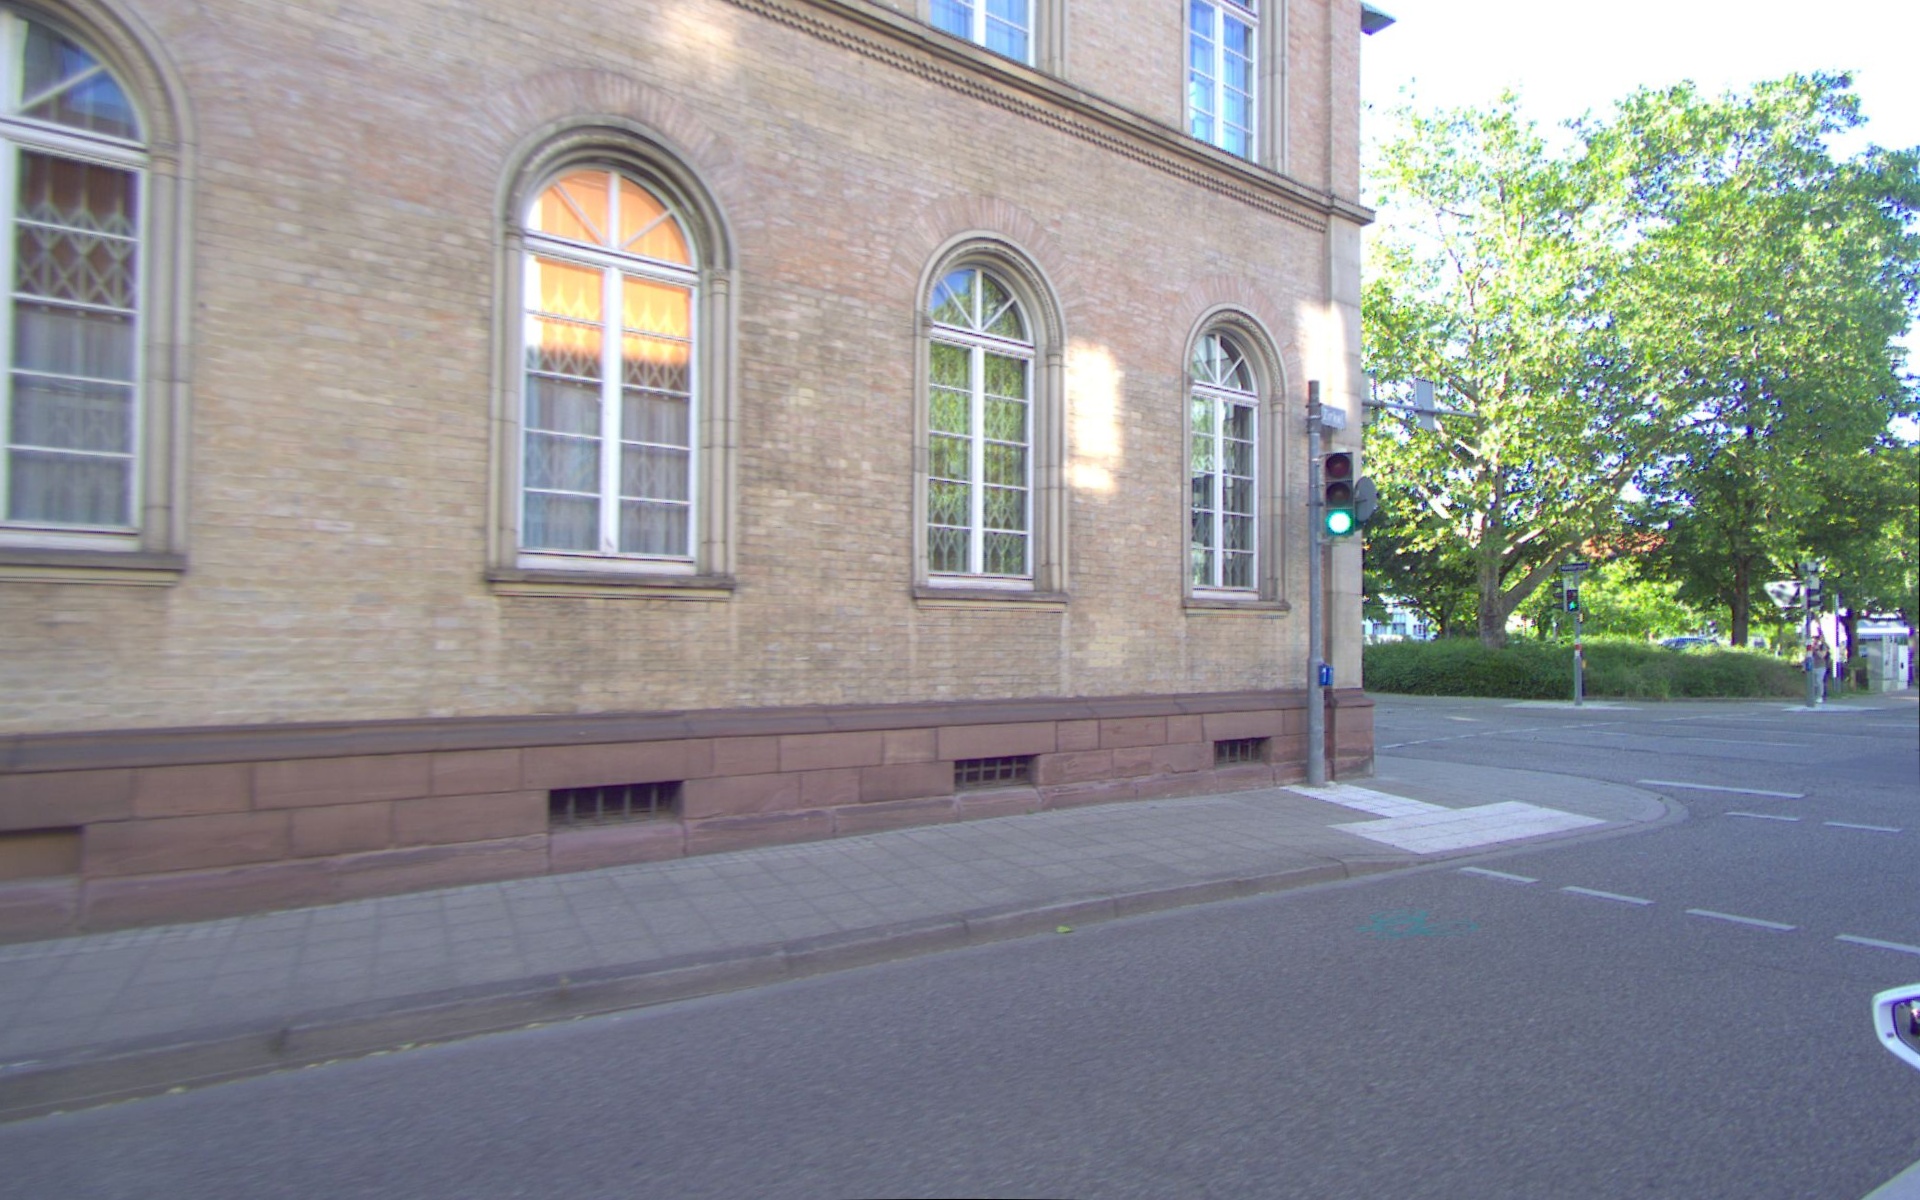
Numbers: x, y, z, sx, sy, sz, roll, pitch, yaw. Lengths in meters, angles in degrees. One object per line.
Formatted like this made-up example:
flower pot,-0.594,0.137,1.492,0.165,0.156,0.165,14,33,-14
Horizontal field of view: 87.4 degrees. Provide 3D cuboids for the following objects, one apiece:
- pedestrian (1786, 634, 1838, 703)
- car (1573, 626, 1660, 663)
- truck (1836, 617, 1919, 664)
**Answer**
pedestrian,22.139,1.765,26.095,0.943,1.745,0.700,1,-3,-29
car,44.416,3.023,68.045,2.054,2.422,4.525,2,-4,-35
truck,49.738,2.100,53.155,2.068,2.431,4.794,1,-1,-36
